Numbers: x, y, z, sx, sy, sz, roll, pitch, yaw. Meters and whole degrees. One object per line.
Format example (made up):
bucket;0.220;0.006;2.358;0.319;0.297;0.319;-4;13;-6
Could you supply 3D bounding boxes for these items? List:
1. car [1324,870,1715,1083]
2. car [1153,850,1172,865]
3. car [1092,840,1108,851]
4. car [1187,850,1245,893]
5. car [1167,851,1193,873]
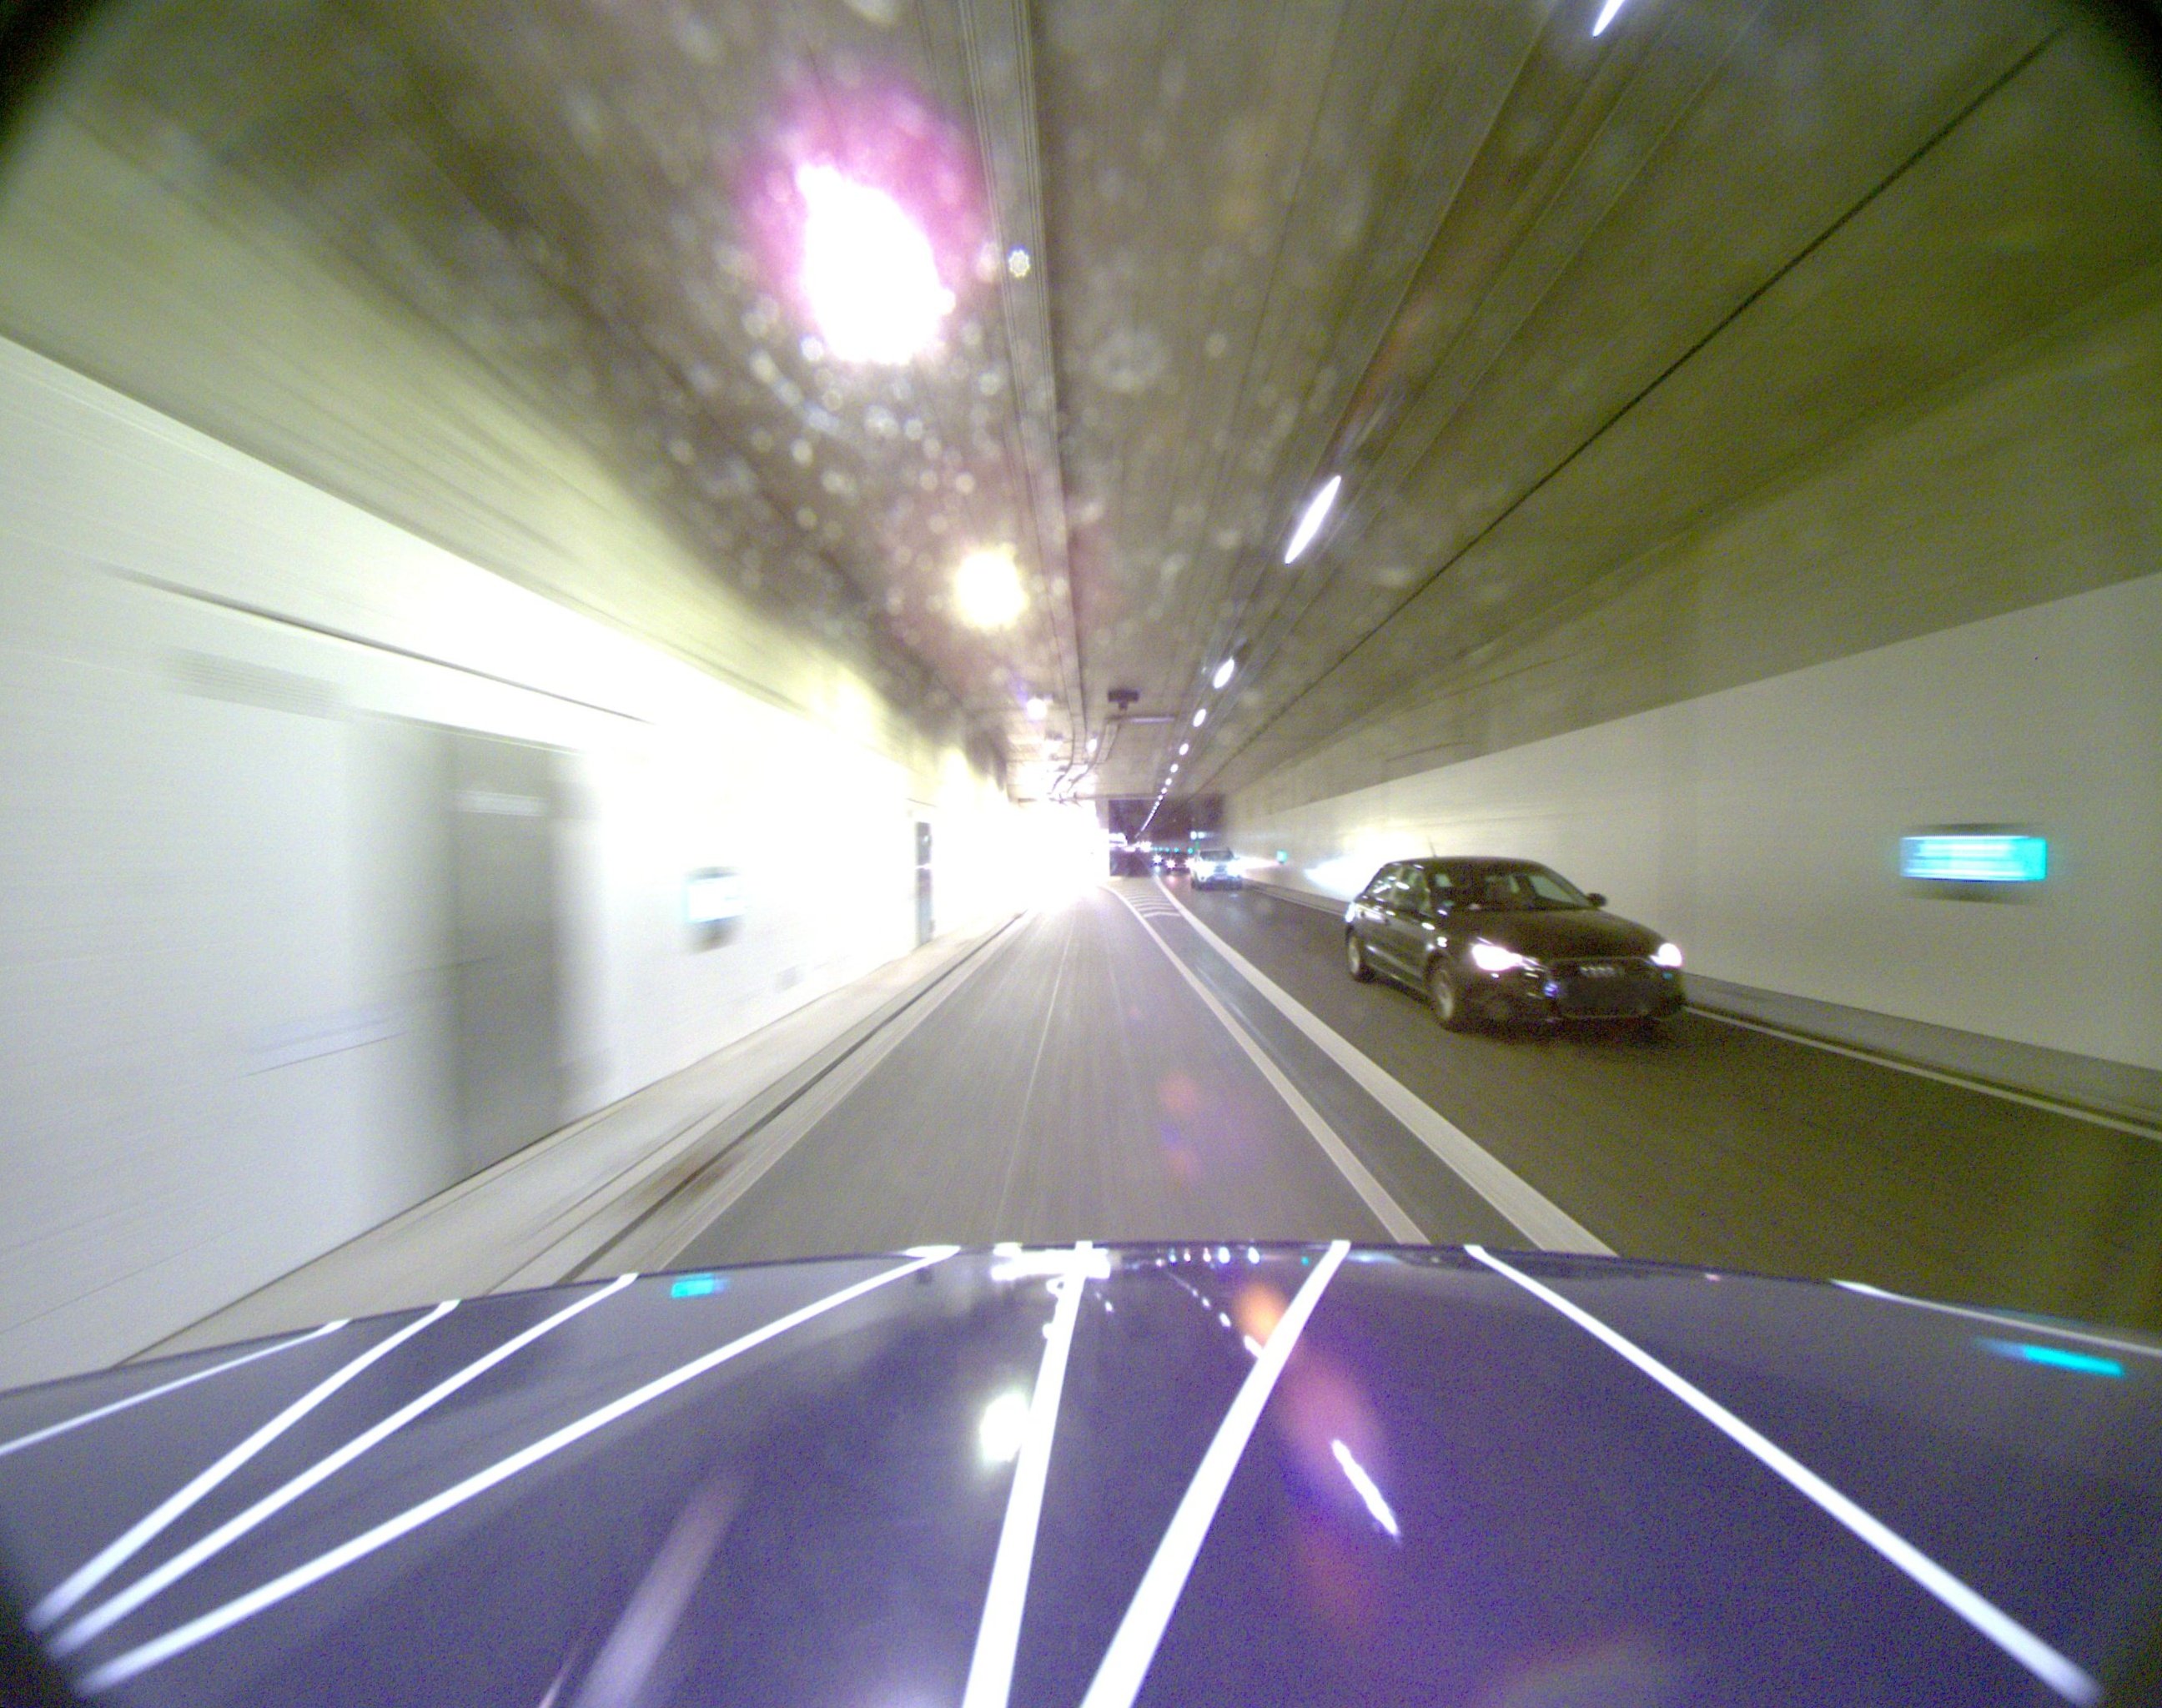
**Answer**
car;3.720;0.914;7.317;1.660;1.393;3.876;-1;0;3
car;8.415;0.306;78.915;1.718;1.443;3.681;-3;0;3
car;2.450;-1.074;96.519;1.829;1.328;4.000;-1;1;4
car;5.503;0.661;31.423;1.853;1.655;3.832;-1;0;3
car;7.154;0.550;55.148;1.607;1.462;3.681;-2;0;4
